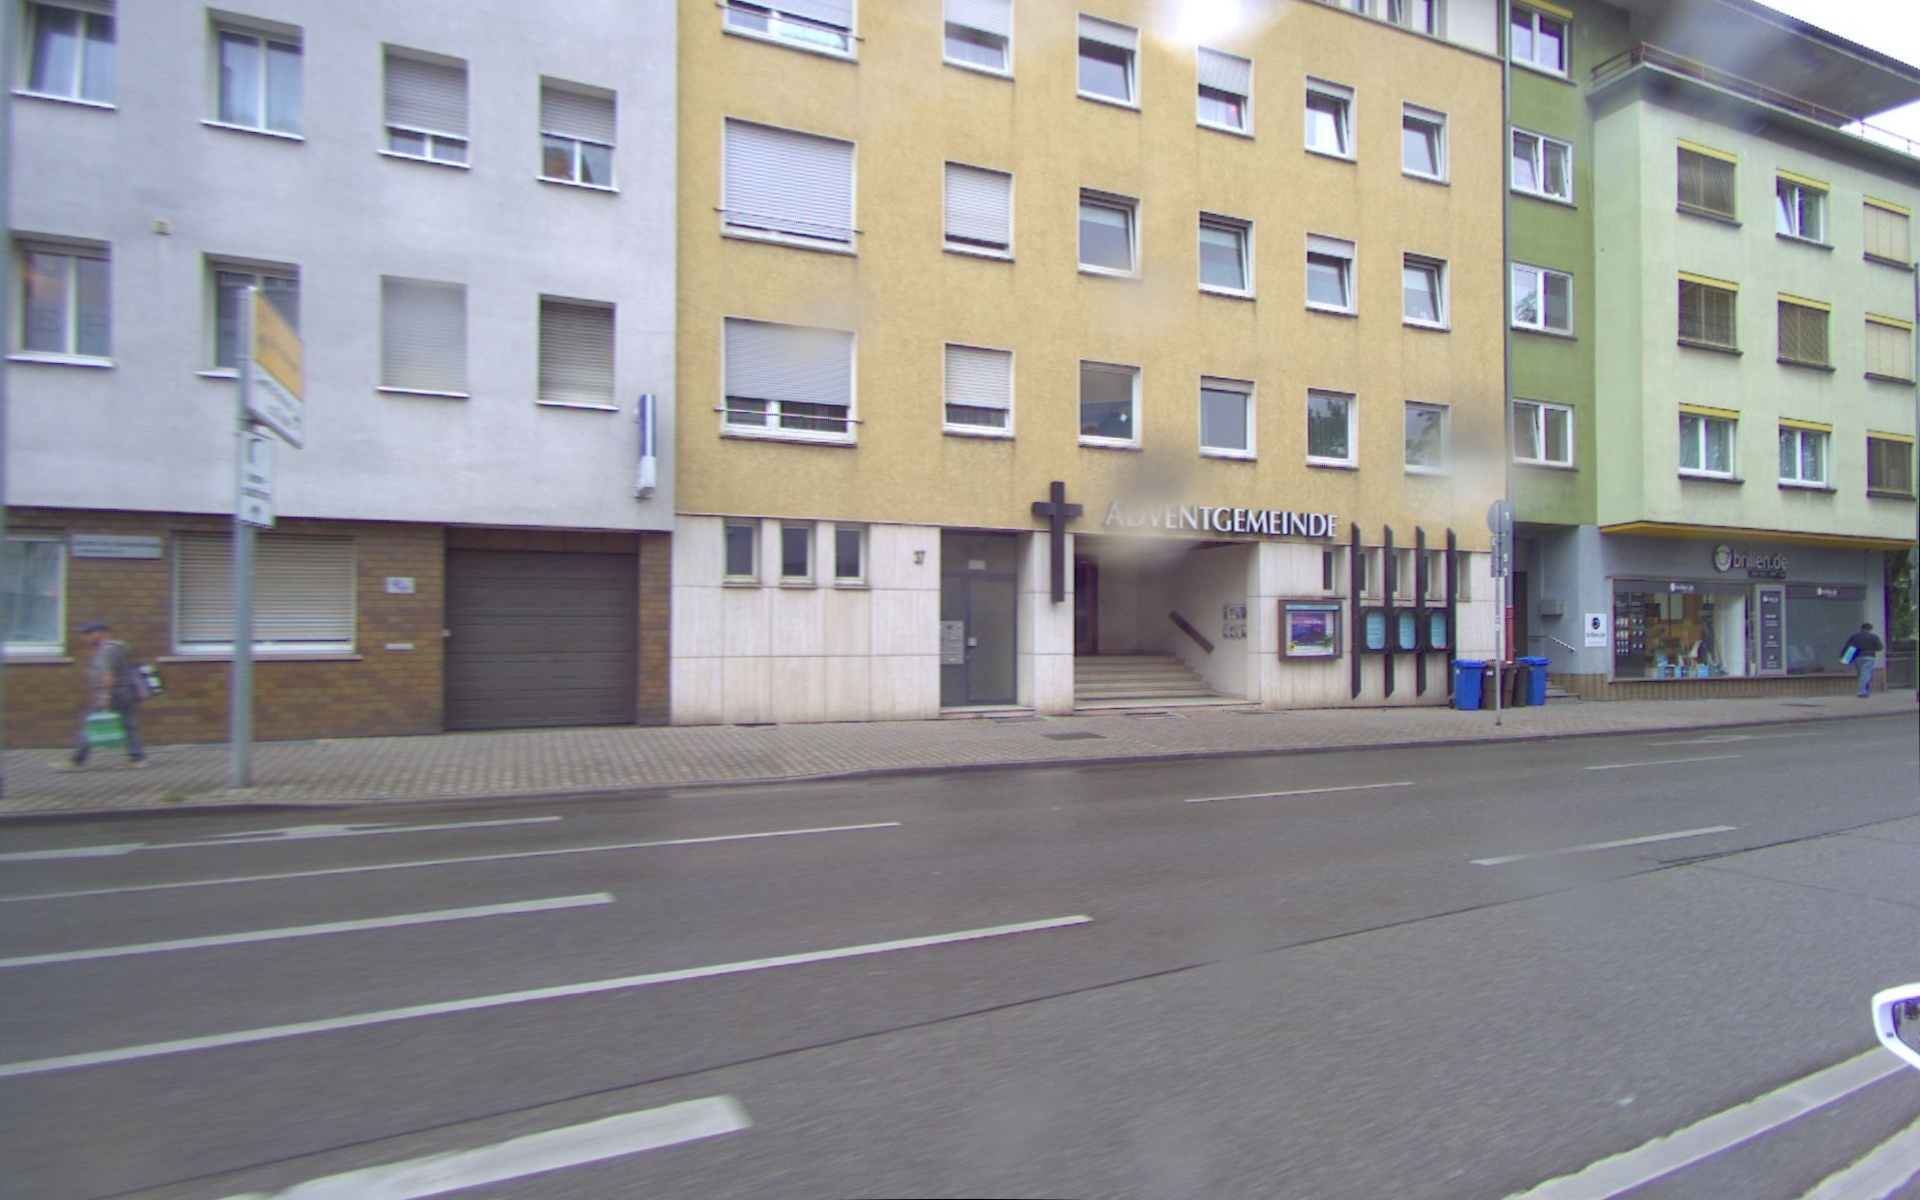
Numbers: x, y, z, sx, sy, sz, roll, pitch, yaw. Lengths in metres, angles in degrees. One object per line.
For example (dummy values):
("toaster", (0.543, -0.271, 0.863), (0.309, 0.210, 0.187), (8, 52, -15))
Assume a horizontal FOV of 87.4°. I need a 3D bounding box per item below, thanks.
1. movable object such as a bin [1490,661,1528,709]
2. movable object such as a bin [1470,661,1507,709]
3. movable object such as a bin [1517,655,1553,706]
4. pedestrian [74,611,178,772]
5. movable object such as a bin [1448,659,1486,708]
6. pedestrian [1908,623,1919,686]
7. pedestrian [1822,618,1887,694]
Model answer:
("movable object such as a bin", (10.974, 1.691, 20.085), (0.495, 0.912, 0.453), (1, -1, -23))
("movable object such as a bin", (10.451, 1.681, 19.867), (0.495, 0.912, 0.453), (1, -1, -23))
("movable object such as a bin", (11.839, 1.658, 20.679), (0.537, 1.020, 0.398), (1, -1, -23))
("pedestrian", (-8.717, 0.928, 10.529), (0.642, 1.602, 0.685), (1, 1, -22))
("movable object such as a bin", (9.917, 1.625, 19.646), (0.495, 0.942, 0.453), (1, -1, -23))
("pedestrian", (26.310, 1.476, 27.162), (0.808, 1.710, 0.794), (1, -2, -30))
("pedestrian", (22.061, 1.369, 24.775), (0.863, 1.812, 0.863), (1, 1, -24))
